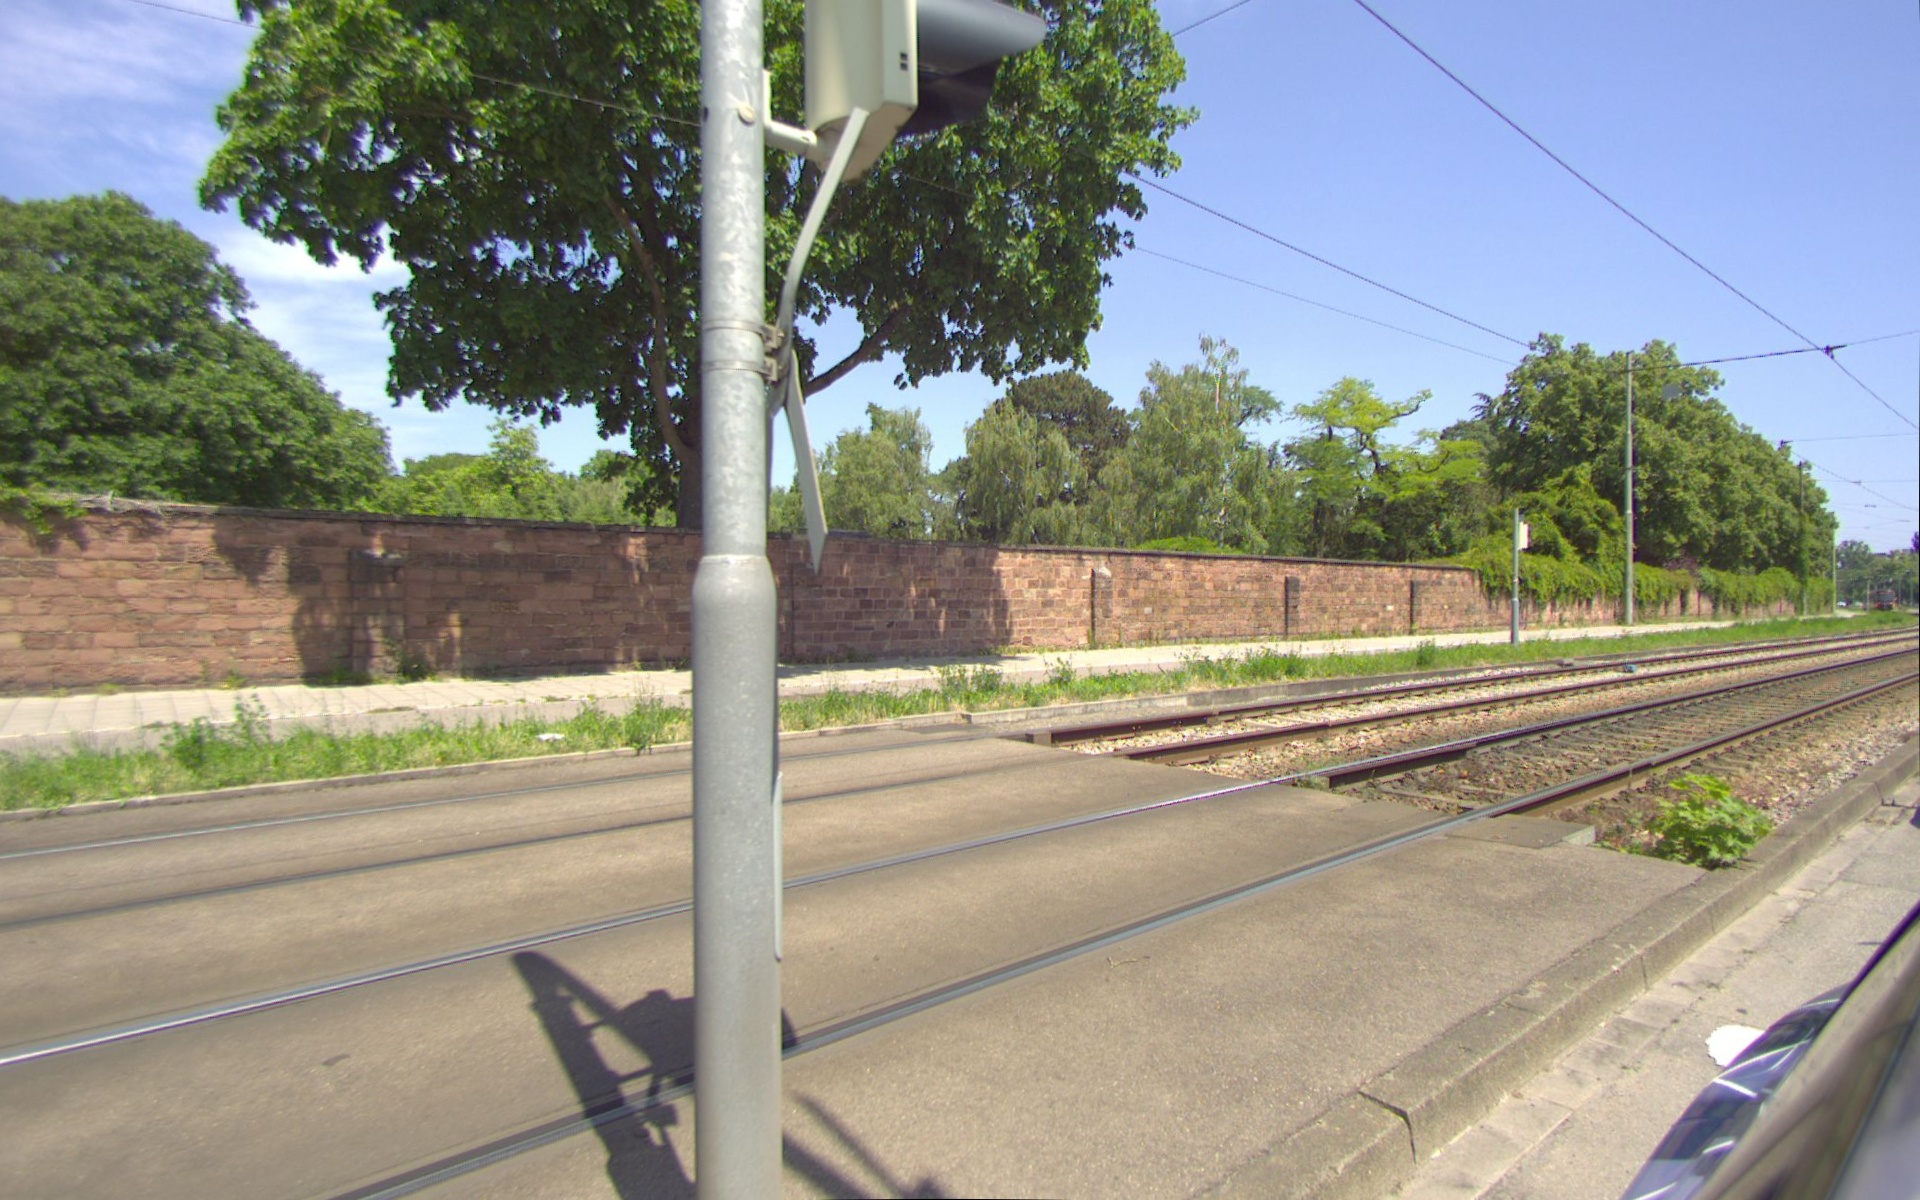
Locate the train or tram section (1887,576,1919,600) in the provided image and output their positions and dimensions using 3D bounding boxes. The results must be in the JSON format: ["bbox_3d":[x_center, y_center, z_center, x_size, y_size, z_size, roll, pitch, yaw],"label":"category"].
[{"bbox_3d":[158.725,-2.073,169.943,14.013,3.855,2.811,-1,0,-41],"label":"train or tram section"}]
